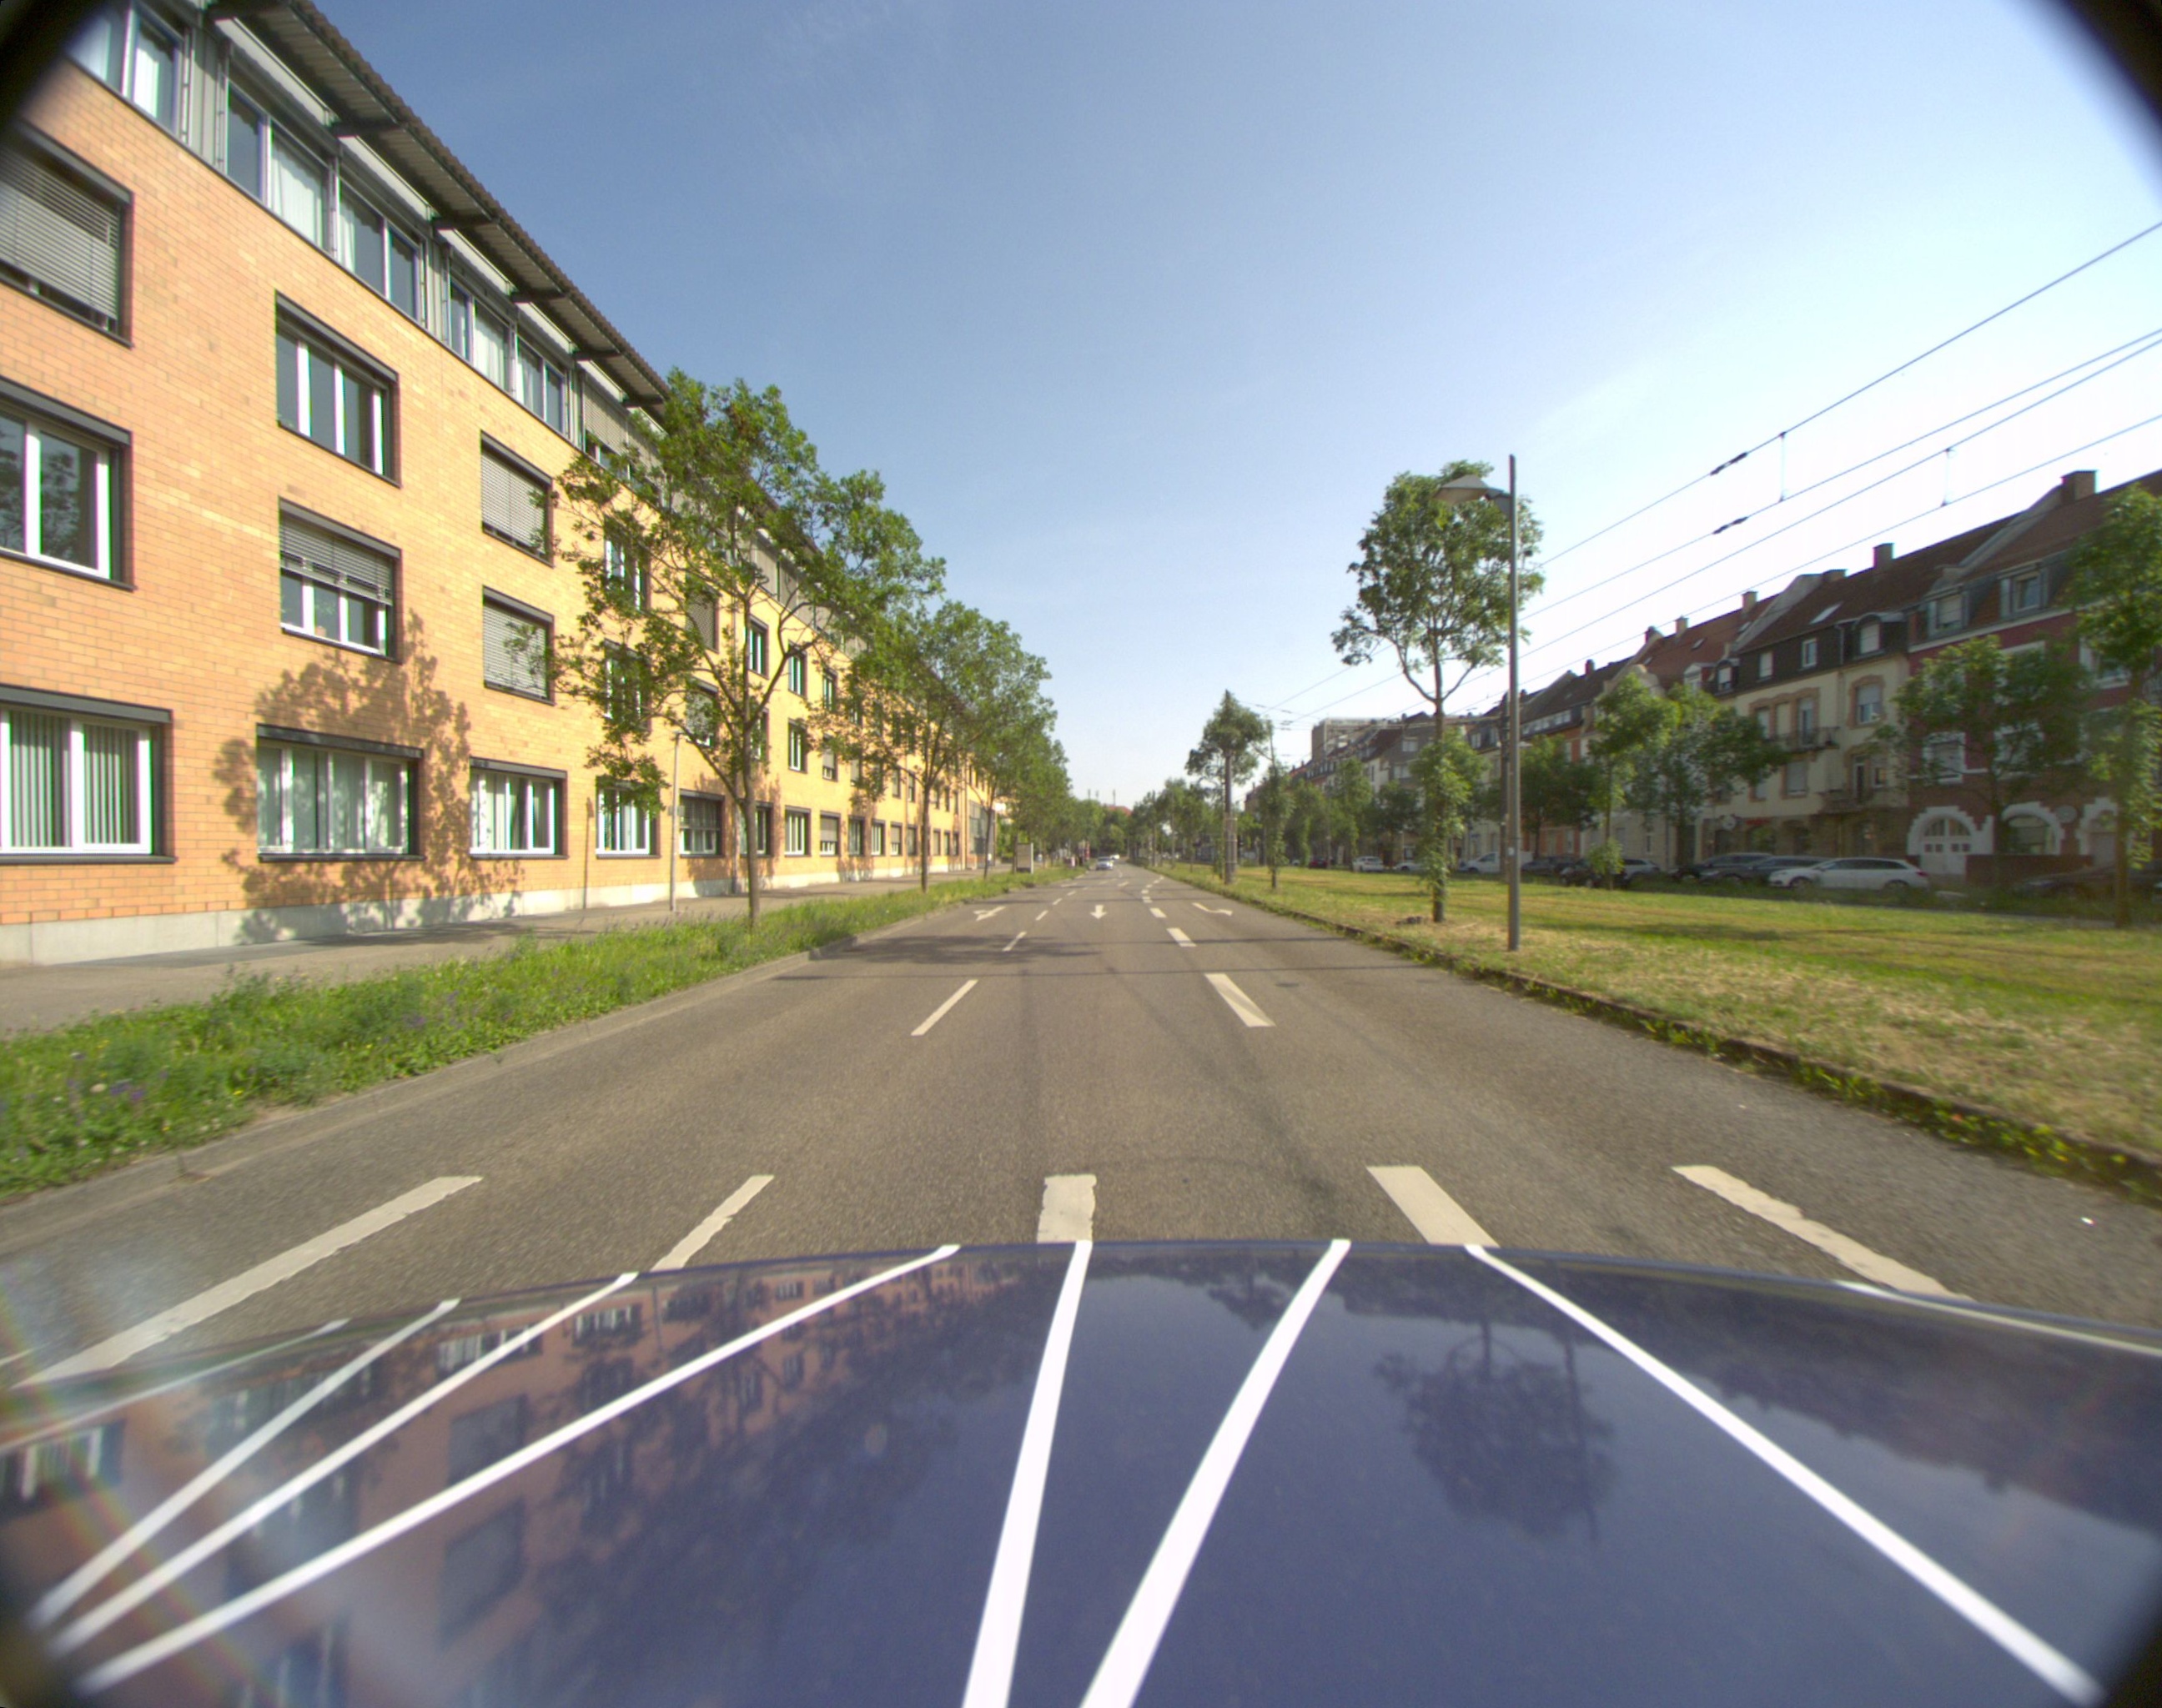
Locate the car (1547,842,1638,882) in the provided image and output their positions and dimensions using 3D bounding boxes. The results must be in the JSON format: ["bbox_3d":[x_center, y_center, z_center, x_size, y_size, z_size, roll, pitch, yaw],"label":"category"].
[{"bbox_3d":[23.749,0.322,35.451,1.768,1.646,4.000,-2,1,4],"label":"car"}]

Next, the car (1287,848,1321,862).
[{"bbox_3d":[31.107,0.174,106.108,3.989,1.716,2.004,-2,1,37],"label":"car"}]

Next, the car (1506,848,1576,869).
[{"bbox_3d":[29.343,0.279,48.541,3.677,1.234,1.529,-2,-1,36],"label":"car"}]

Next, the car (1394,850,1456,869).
[{"bbox_3d":[30.559,0.492,67.520,4.765,1.477,2.026,-2,1,34],"label":"car"}]

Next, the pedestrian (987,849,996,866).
[{"bbox_3d":[-8.763,0.316,74.223,0.697,1.647,0.773,1,1,2],"label":"pedestrian"}]

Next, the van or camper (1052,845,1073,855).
[{"bbox_3d":[-5.152,-1.107,215.007,5.800,2.678,2.407,-2,1,-1],"label":"van or camper"}]

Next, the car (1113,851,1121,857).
[{"bbox_3d":[9.020,0.048,189.592,1.692,1.476,3.366,-3,1,1],"label":"car"}]

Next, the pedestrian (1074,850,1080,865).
[{"bbox_3d":[-0.434,0.398,87.810,0.707,1.637,0.689,1,1,0],"label":"pedestrian"}]

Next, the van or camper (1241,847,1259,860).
[{"bbox_3d":[29.044,-0.081,130.661,1.956,2.085,5.352,-3,1,1],"label":"van or camper"}]

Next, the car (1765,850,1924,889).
[{"bbox_3d":[28.529,0.591,28.587,4.004,1.309,1.665,-2,1,36],"label":"car"}]

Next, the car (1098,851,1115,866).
[{"bbox_3d":[2.715,0.504,81.030,1.629,1.476,3.366,-3,1,1],"label":"car"}]

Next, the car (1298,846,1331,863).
[{"bbox_3d":[25.489,0.035,83.082,1.998,1.621,5.379,-3,1,2],"label":"car"}]

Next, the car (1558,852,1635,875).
[{"bbox_3d":[30.075,0.553,44.357,3.677,1.234,1.665,-2,1,36],"label":"car"}]

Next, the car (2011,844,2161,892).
[{"bbox_3d":[29.433,0.397,21.514,3.676,1.234,1.665,-2,1,40],"label":"car"}]

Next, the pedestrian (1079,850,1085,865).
[{"bbox_3d":[0.077,0.406,86.137,0.636,1.637,0.609,1,1,-2],"label":"pedestrian"}]

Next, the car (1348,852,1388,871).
[{"bbox_3d":[24.909,0.608,66.072,1.952,1.451,4.649,-2,0,4],"label":"car"}]

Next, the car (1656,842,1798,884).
[{"bbox_3d":[29.361,0.426,34.739,4.637,1.733,1.836,-2,1,26],"label":"car"}]

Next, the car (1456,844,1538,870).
[{"bbox_3d":[29.993,0.240,54.825,4.938,1.716,1.860,-2,1,36],"label":"car"}]

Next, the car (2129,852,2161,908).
[{"bbox_3d":[29.112,0.616,18.618,3.677,1.324,1.665,-2,1,36],"label":"car"}]

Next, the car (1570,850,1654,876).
[{"bbox_3d":[29.090,0.495,41.663,3.677,1.234,1.665,-2,1,36],"label":"car"}]

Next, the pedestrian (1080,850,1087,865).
[{"bbox_3d":[0.257,0.363,84.905,0.707,1.637,0.689,1,1,0],"label":"pedestrian"}]

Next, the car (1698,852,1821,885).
[{"bbox_3d":[28.296,0.631,31.845,3.677,1.234,1.665,-2,1,36],"label":"car"}]
